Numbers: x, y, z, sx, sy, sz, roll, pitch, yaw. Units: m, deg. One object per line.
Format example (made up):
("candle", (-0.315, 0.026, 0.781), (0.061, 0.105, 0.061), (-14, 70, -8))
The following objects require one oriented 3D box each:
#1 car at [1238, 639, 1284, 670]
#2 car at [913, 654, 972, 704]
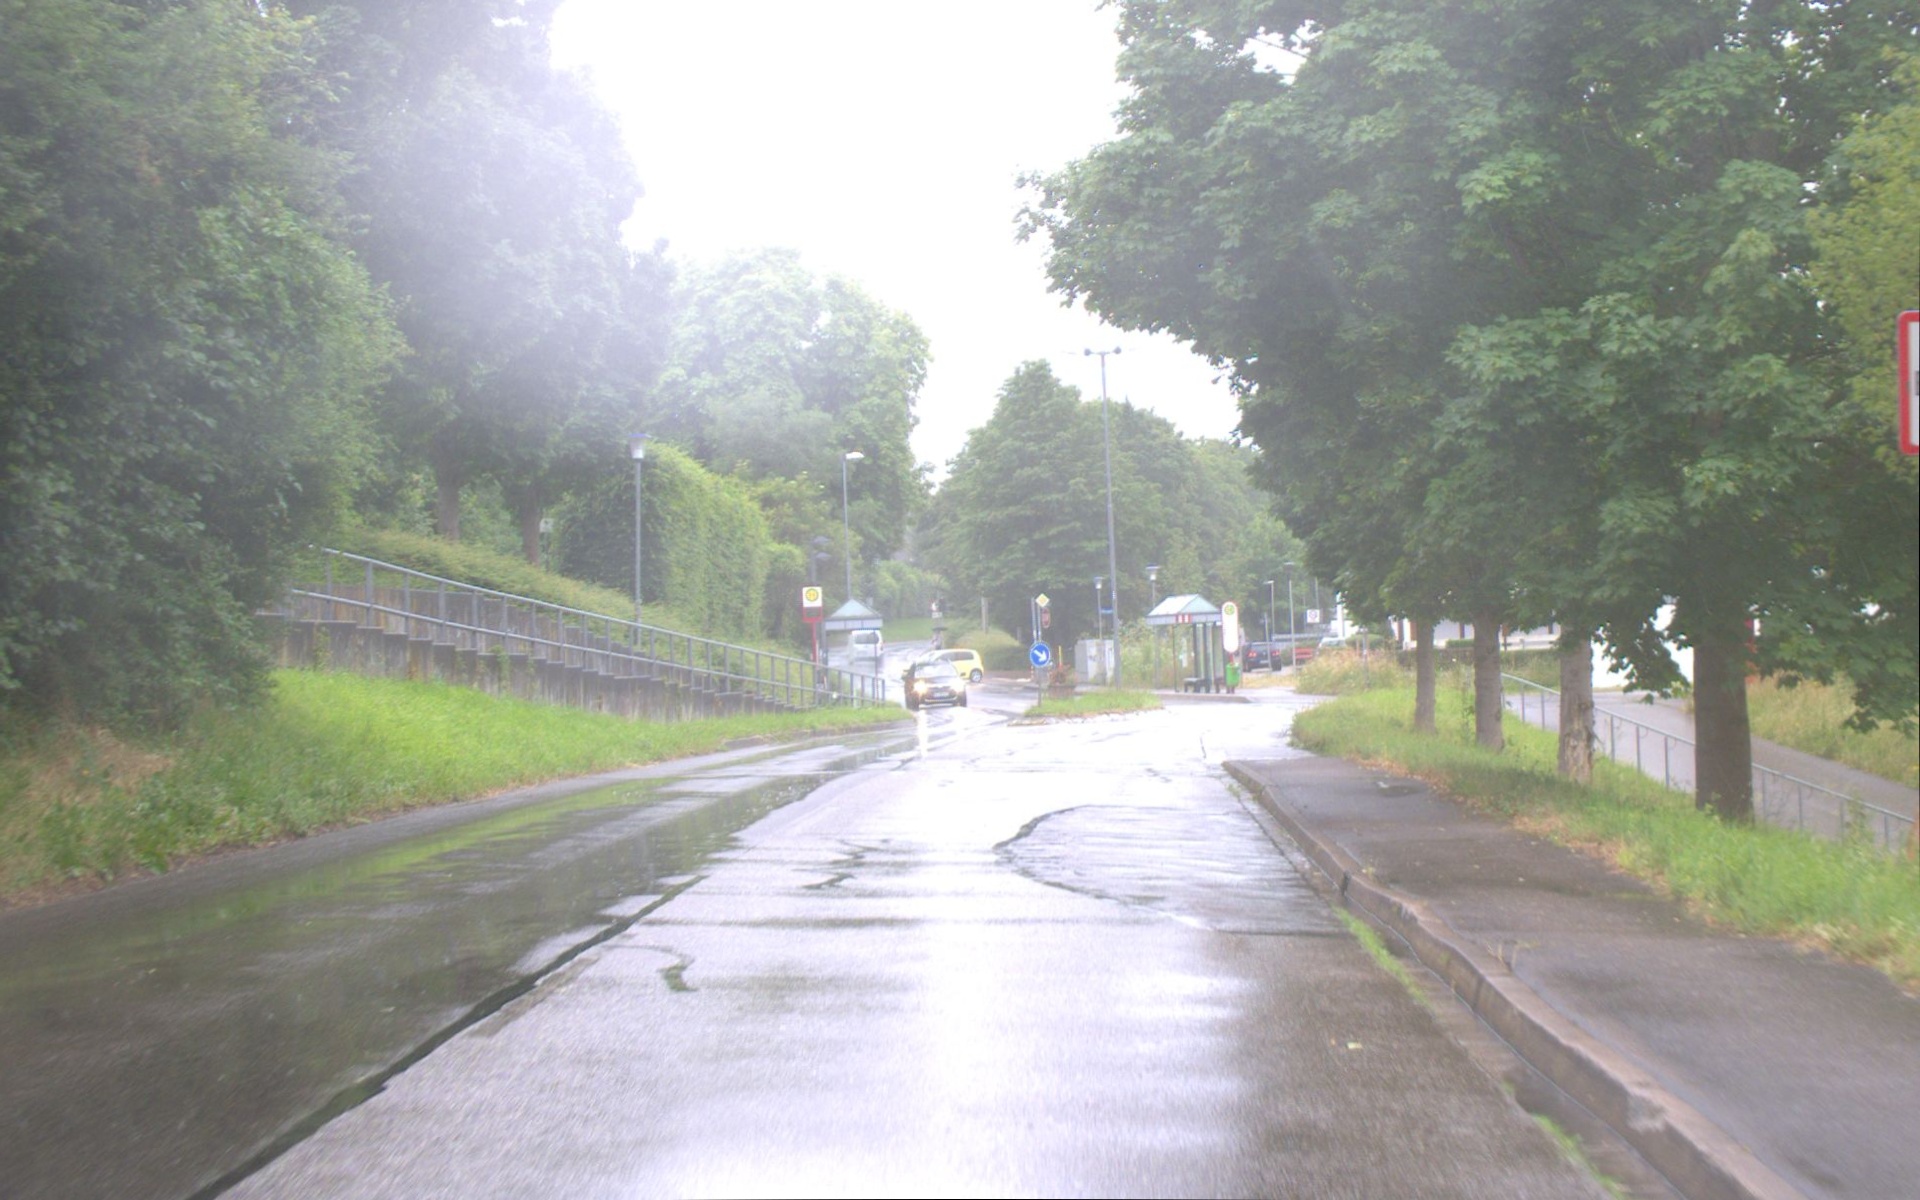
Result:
("car", (15.125, 2.737, 172.979), (1.688, 1.433, 3.612), (-2, 1, -4))
("car", (-0.585, 2.566, 111.503), (1.760, 1.498, 4.141), (-3, -1, -2))
